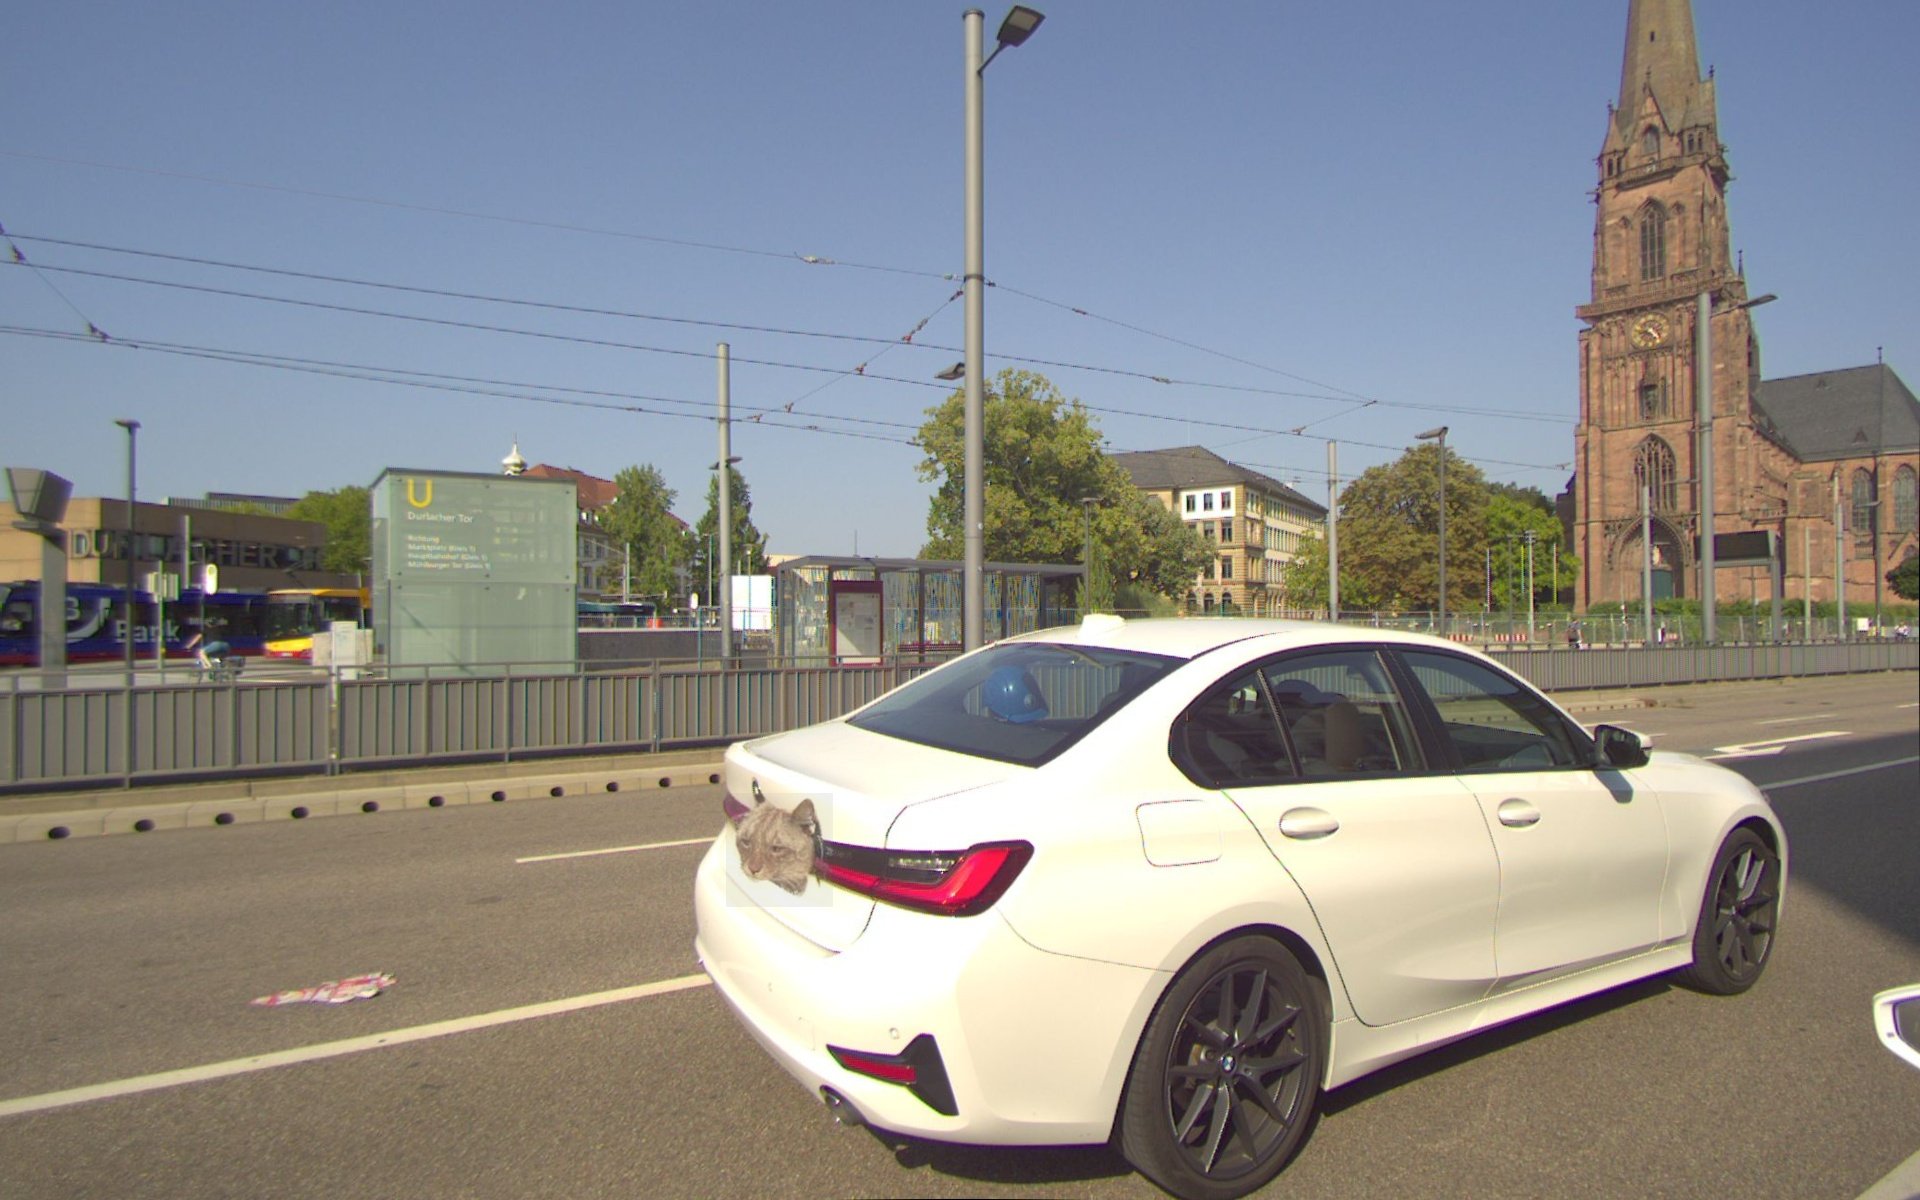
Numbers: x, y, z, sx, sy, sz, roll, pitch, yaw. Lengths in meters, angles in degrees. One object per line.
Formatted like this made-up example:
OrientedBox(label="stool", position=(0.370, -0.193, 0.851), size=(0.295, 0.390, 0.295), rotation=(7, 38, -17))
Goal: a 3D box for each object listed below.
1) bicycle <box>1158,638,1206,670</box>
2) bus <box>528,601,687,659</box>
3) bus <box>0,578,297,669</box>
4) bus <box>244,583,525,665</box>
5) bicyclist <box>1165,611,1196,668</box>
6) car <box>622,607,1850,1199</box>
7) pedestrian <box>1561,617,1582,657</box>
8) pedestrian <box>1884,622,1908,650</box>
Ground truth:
OrientedBox(label="bicycle", position=(6.976, 1.696, 31.560), size=(1.675, 0.966, 0.348), rotation=(0, -1, -31))
OrientedBox(label="bus", position=(-21.704, 1.868, 63.261), size=(3.159, 3.220, 13.326), rotation=(-1, -2, 11))
OrientedBox(label="bus", position=(-36.766, 1.073, 44.960), size=(3.160, 3.464, 13.325), rotation=(-1, -2, 13))
OrientedBox(label="bus", position=(-25.605, 1.133, 46.188), size=(3.160, 3.220, 13.326), rotation=(-1, -2, 12))
OrientedBox(label="bicyclist", position=(6.907, 1.230, 31.439), size=(0.810, 1.770, 0.484), rotation=(0, -1, -30))
OrientedBox(label="car", position=(1.323, 0.777, 3.863), size=(4.719, 1.446, 1.800), rotation=(0, 1, -31))
OrientedBox(label="pedestrian", position=(26.734, 1.620, 43.909), size=(0.657, 1.723, 0.514), rotation=(0, -1, -32))
OrientedBox(label="pedestrian", position=(57.510, 2.220, 61.748), size=(0.590, 1.701, 0.920), rotation=(0, -1, 1))
